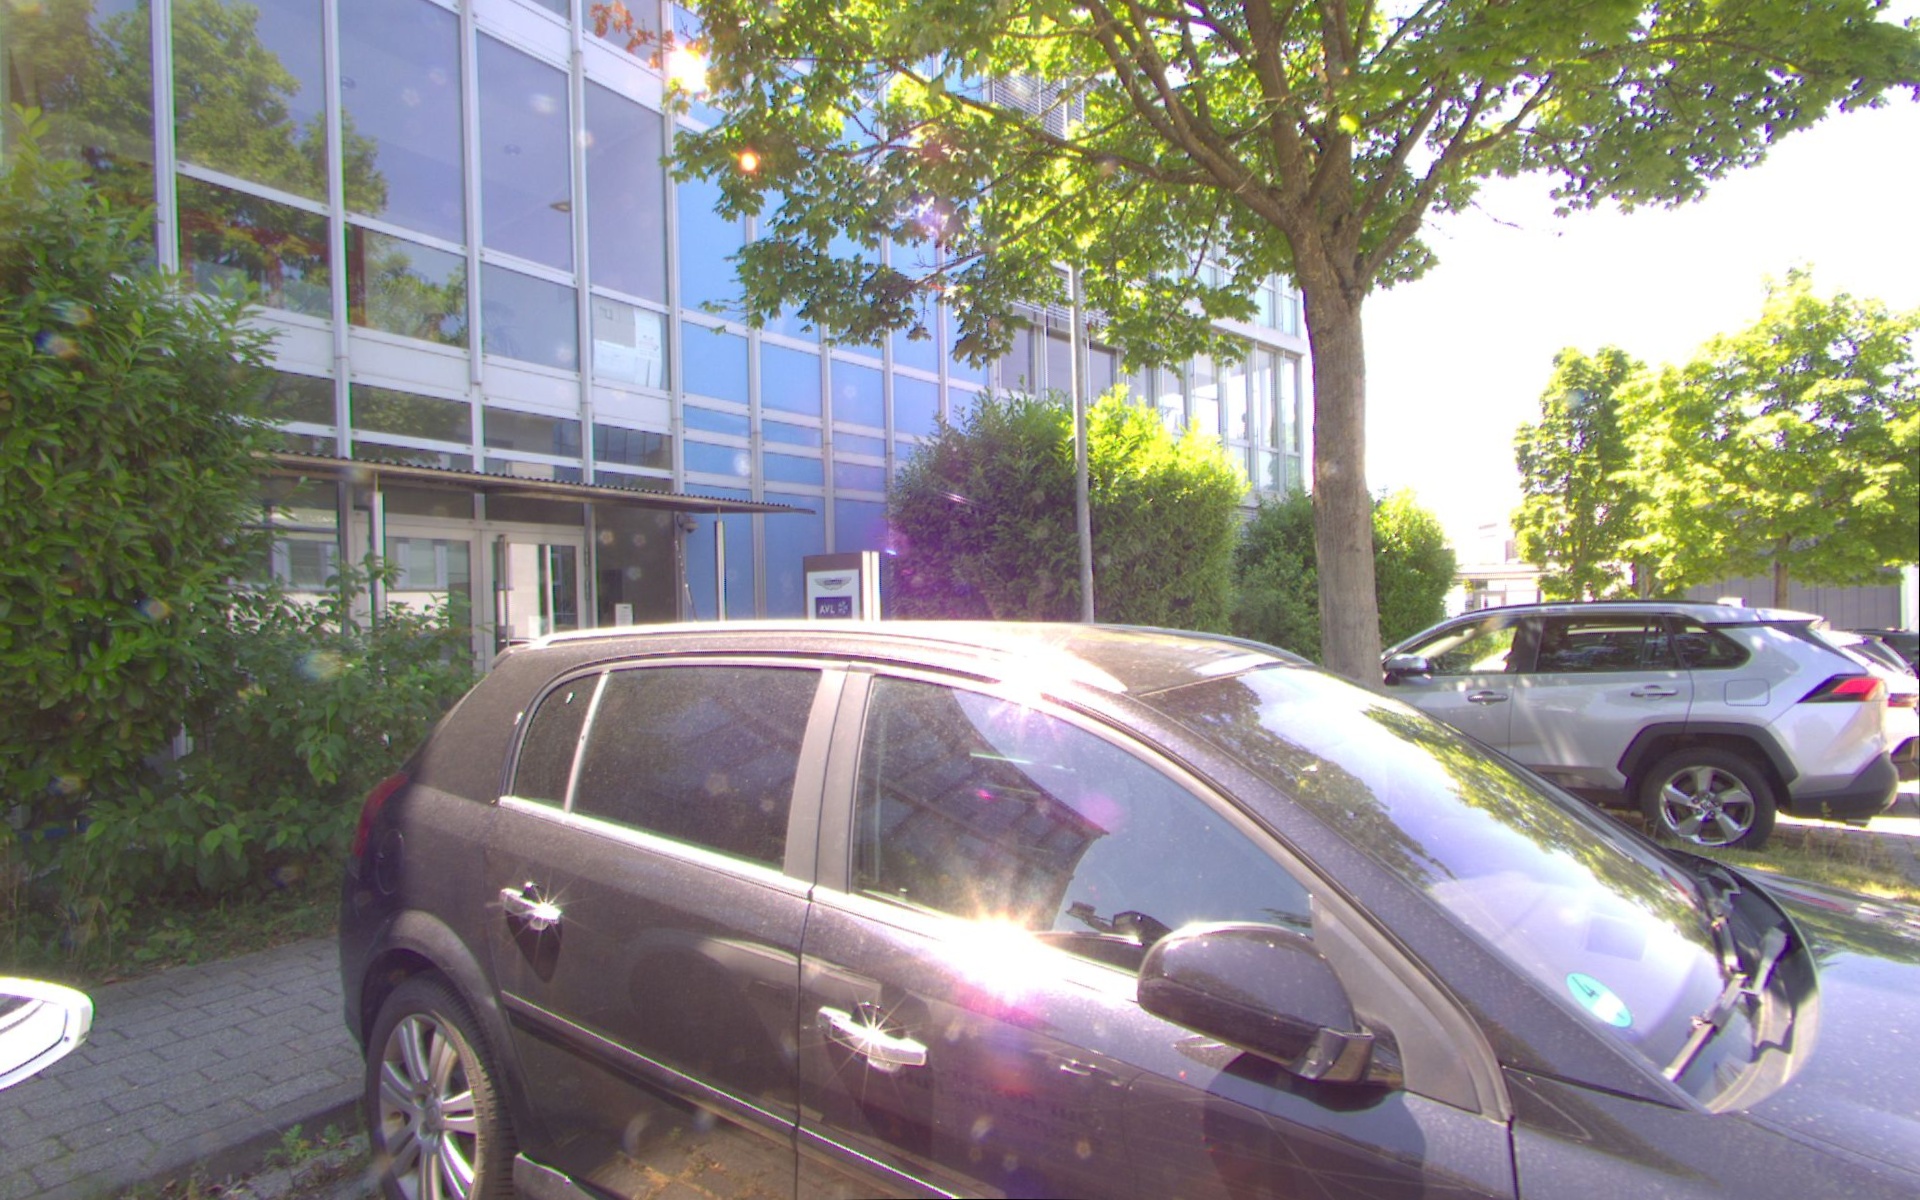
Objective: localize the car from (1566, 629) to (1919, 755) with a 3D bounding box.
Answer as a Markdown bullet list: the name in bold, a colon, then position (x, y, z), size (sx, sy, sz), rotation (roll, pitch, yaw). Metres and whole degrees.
- **car**: position (11.359, 1.213, 14.513), size (1.645, 1.505, 4.136), rotation (2, -1, -44)

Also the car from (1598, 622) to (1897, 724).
- **car**: position (14.606, 1.271, 18.796), size (1.641, 1.626, 4.145), rotation (1, -1, -38)

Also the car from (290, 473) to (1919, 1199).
- **car**: position (0.447, 0.718, 2.185), size (4.506, 1.569, 1.753), rotation (-1, -2, 36)

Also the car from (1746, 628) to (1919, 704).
- **car**: position (20.121, 1.440, 22.485), size (1.615, 1.545, 3.566), rotation (1, -1, -34)

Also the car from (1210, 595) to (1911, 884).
- **car**: position (4.349, 0.821, 7.830), size (4.278, 1.664, 1.844), rotation (0, -1, 38)

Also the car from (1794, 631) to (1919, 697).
- **car**: position (22.186, 1.502, 23.610), size (1.615, 1.462, 3.566), rotation (1, -1, -34)

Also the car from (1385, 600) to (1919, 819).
- **car**: position (6.418, 0.857, 9.450), size (4.150, 1.664, 1.649), rotation (0, -1, 38)
